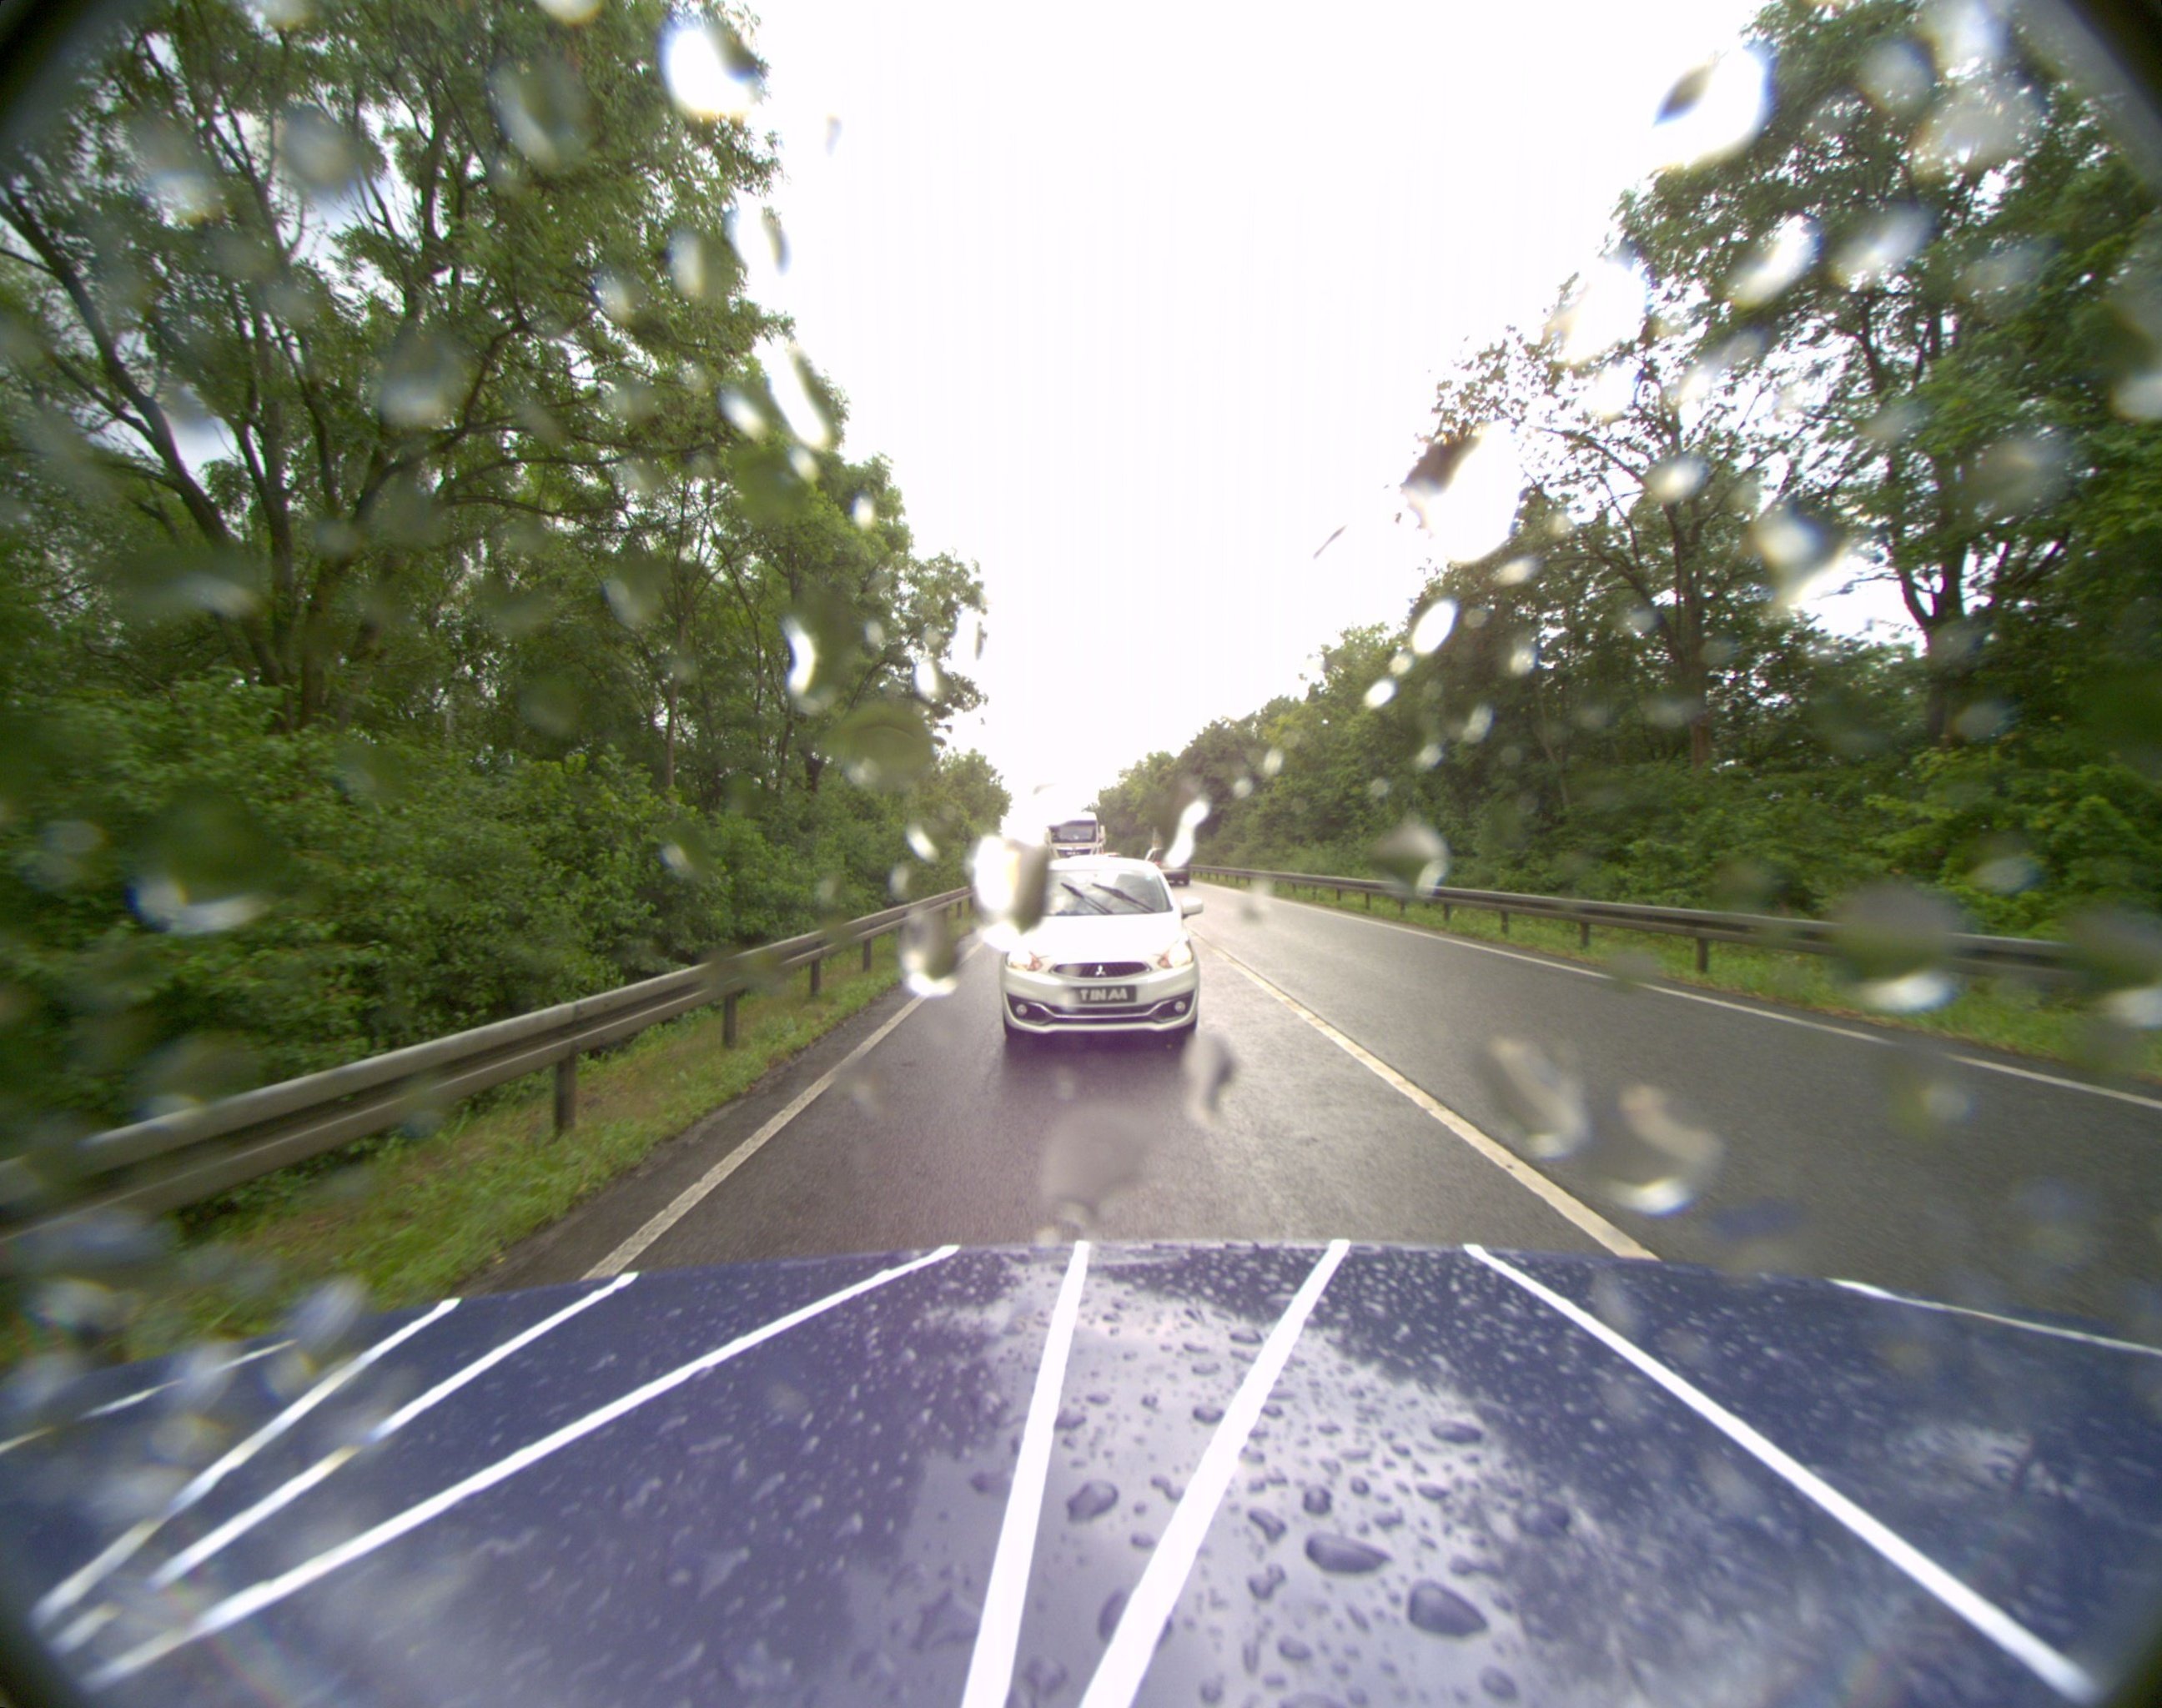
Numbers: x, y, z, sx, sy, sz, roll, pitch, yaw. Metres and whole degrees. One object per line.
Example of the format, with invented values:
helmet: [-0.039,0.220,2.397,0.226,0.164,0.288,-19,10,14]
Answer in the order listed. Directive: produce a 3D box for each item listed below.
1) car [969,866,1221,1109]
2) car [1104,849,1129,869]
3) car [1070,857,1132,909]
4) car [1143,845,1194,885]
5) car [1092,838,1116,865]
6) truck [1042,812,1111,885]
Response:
car: [0.131,0.913,7.088,1.610,1.435,4.209,-2,1,1]
car: [2.787,0.358,60.368,1.733,1.423,3.848,-2,1,-2]
car: [0.548,0.842,23.956,1.641,1.413,4.490,-2,0,-2]
car: [3.974,0.448,35.283,1.819,1.676,4.621,-2,1,1]
car: [2.432,-0.311,81.259,2.053,2.661,6.168,-1,1,-3]
truck: [-0.422,-0.362,40.723,3.137,3.364,9.279,-2,1,-3]
